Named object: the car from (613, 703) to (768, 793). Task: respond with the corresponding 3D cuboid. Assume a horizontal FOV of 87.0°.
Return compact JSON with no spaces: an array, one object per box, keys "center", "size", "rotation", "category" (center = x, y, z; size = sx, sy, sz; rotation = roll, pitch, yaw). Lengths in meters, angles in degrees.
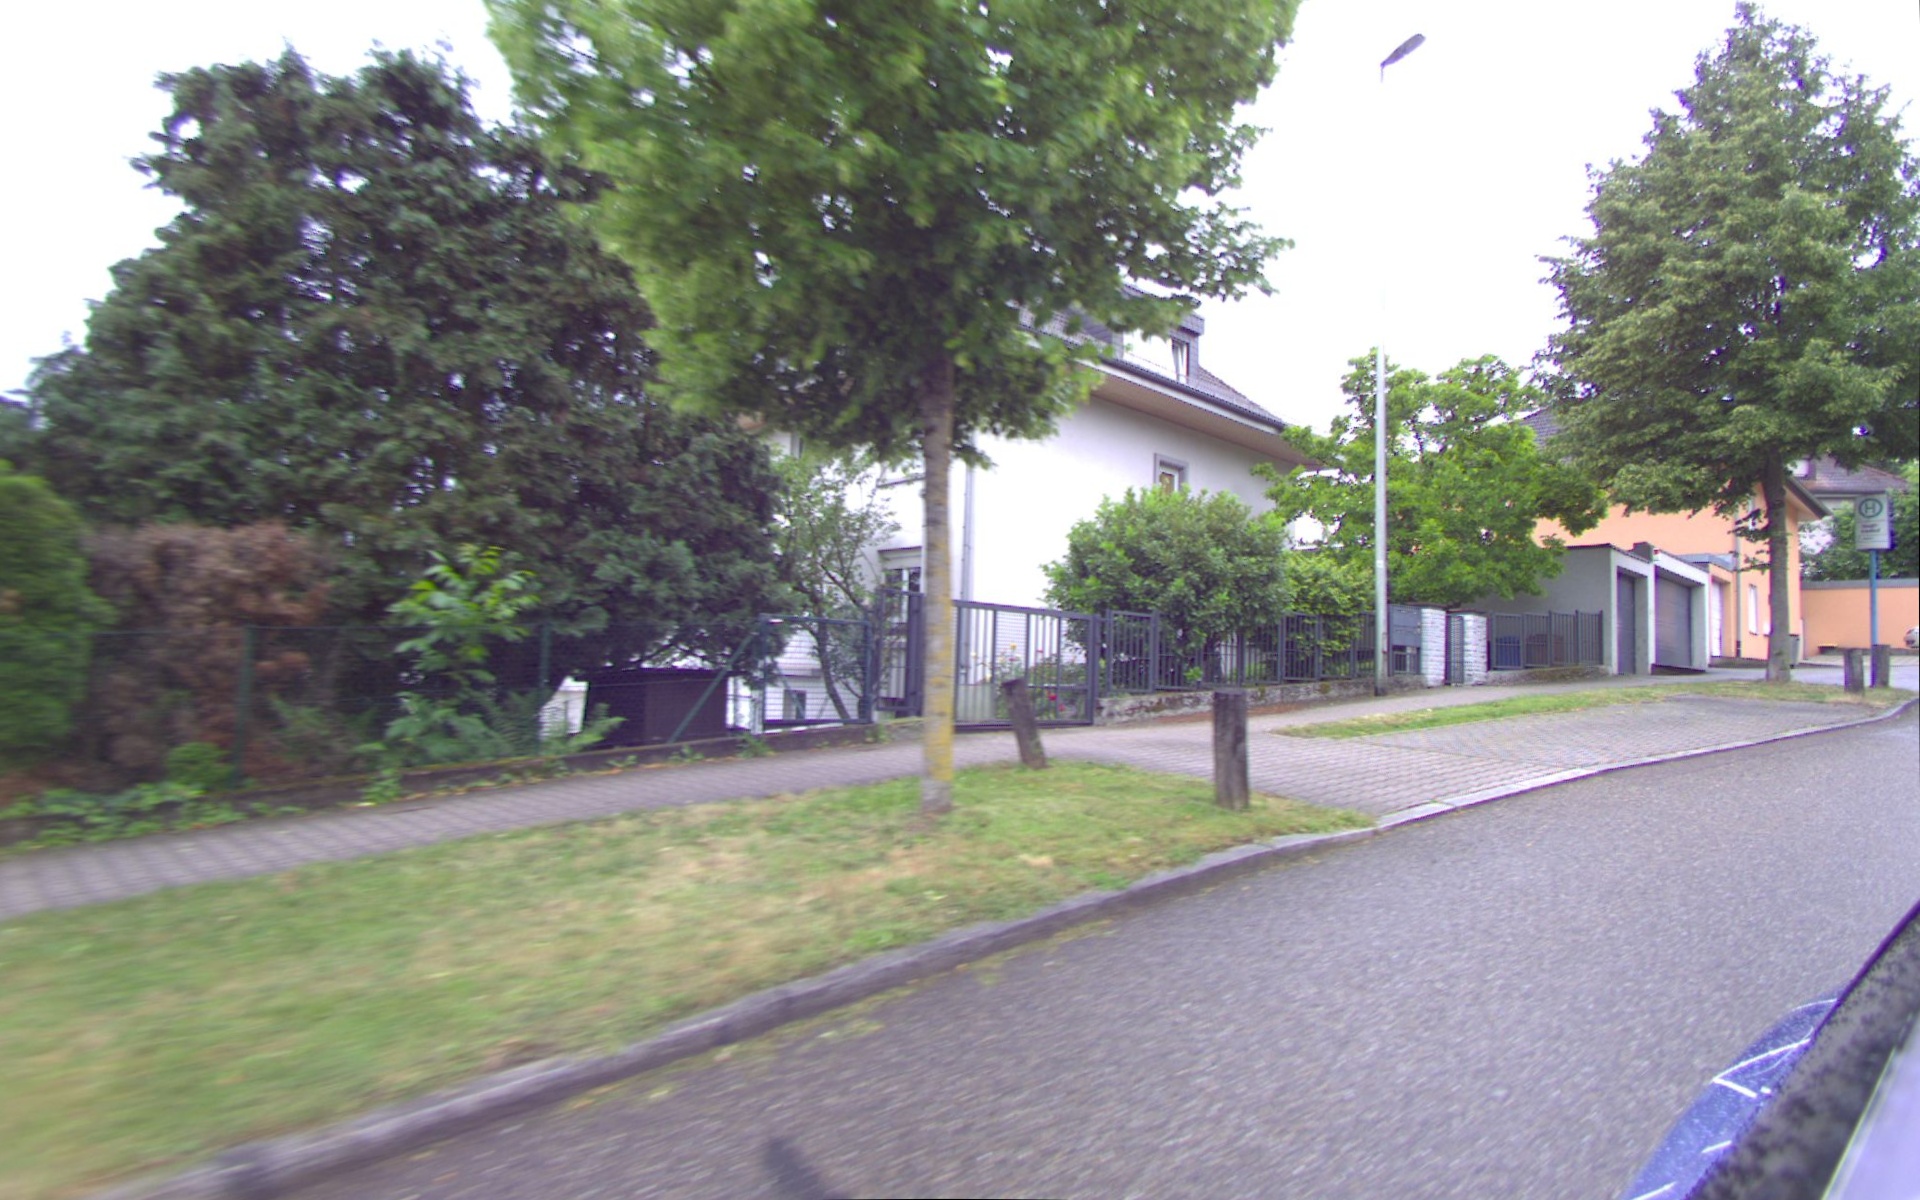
[{"center":[-6.291,3.318,23.378],"size":[1.965,1.438,3.994],"rotation":[1,0,-40],"category":"car"}]
